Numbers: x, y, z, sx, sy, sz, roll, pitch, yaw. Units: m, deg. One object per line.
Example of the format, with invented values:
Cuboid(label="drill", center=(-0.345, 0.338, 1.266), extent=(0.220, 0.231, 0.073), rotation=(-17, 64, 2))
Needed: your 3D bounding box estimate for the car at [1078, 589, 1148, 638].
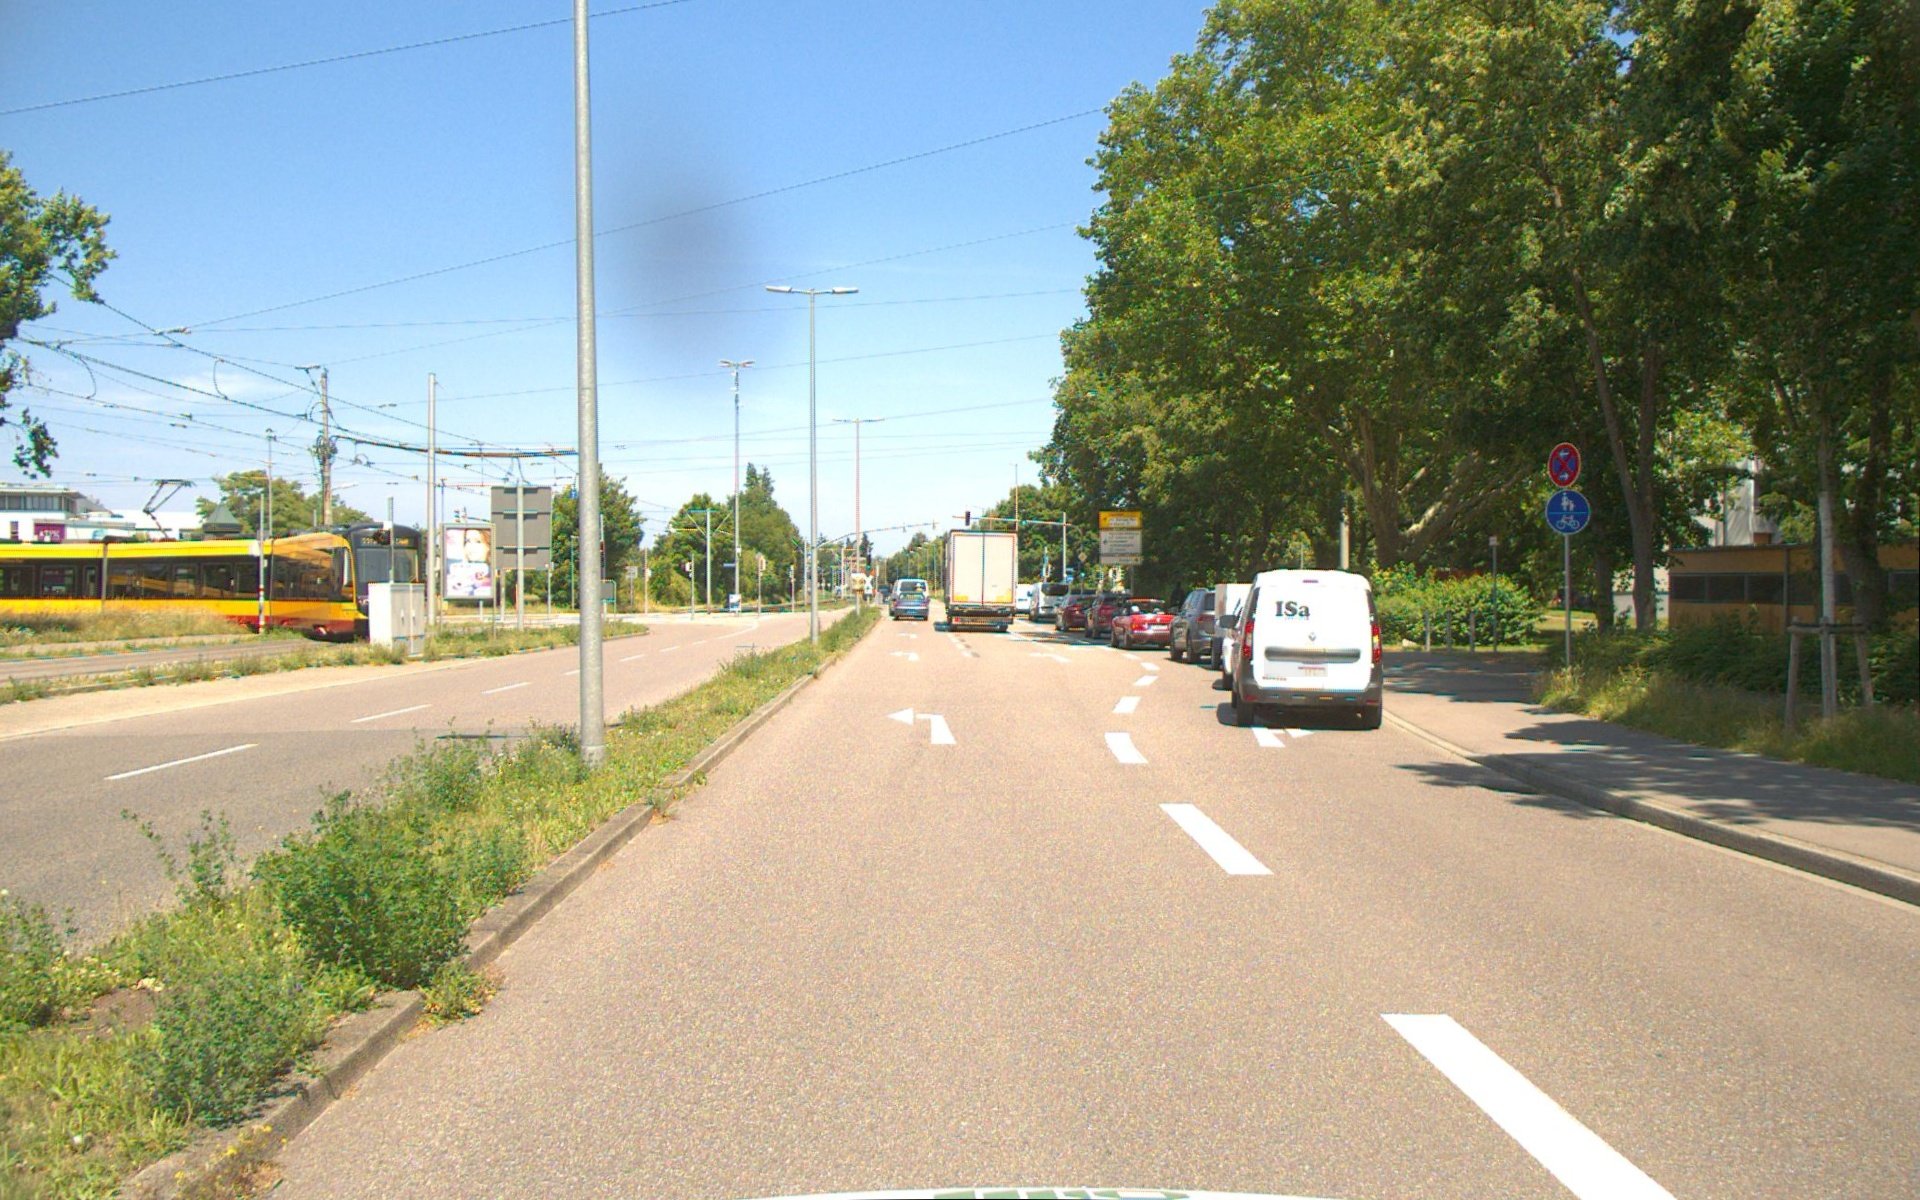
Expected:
Cuboid(label="car", center=(5.247, 0.439, 57.092), extent=(1.821, 1.576, 3.885), rotation=(1, 0, -3))

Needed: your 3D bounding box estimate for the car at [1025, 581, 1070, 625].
Cuboid(label="car", center=(4.451, 0.132, 84.385), extent=(1.853, 2.158, 3.885), rotation=(1, 0, -3))

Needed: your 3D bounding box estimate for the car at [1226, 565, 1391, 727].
Cuboid(label="car", center=(4.263, 0.500, 20.769), extent=(1.673, 1.778, 4.431), rotation=(1, 0, 8))

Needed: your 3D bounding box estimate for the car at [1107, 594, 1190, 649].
Cuboid(label="car", center=(5.227, 0.561, 46.338), extent=(1.622, 1.421, 4.265), rotation=(1, 0, -3))

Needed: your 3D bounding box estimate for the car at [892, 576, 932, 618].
Cuboid(label="car", center=(-2.625, -0.187, 89.765), extent=(1.954, 2.148, 4.744), rotation=(0, 1, -4))

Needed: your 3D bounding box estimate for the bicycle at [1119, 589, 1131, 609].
Cuboid(label="bicycle", center=(11.200, -0.043, 112.264), extent=(0.631, 1.327, 1.627), rotation=(-2, 0, 9))

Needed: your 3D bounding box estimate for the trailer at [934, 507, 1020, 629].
Cuboid(label="trailer", center=(0.573, -1.223, 65.848), extent=(2.771, 4.498, 8.744), rotation=(1, 0, -3))

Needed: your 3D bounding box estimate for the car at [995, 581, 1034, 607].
Cuboid(label="car", center=(3.234, -0.363, 98.764), extent=(1.953, 1.462, 4.249), rotation=(0, 1, -3))

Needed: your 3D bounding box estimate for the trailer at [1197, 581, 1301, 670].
Cuboid(label="trailer", center=(5.777, 0.476, 33.282), extent=(1.439, 1.698, 2.854), rotation=(1, 0, -3))

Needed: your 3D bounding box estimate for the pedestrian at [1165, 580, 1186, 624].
Cuboid(label="pedestrian", center=(9.152, 0.094, 70.316), extent=(0.738, 1.847, 0.693), rotation=(-1, 0, -3))

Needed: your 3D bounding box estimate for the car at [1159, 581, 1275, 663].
Cuboid(label="car", center=(5.667, 0.449, 36.912), extent=(1.665, 1.683, 4.396), rotation=(1, 0, -3))

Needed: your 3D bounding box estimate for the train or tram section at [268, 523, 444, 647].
Cuboid(label="train or tram section", center=(-19.783, -0.521, 53.478), extent=(3.005, 3.526, 13.156), rotation=(1, 1, -30))

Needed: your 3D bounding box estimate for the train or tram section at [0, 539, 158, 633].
Cuboid(label="train or tram section", center=(-38.552, -0.649, 65.461), extent=(12.440, 3.526, 3.048), rotation=(1, 0, 6))

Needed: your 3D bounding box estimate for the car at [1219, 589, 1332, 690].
Cuboid(label="car", center=(5.181, 0.592, 27.495), extent=(1.684, 1.514, 3.881), rotation=(1, 0, 9))

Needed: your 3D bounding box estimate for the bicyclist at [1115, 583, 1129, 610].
Cuboid(label="bicyclist", center=(11.011, -0.233, 112.392), extent=(0.785, 1.757, 0.679), rotation=(-2, 0, 9))

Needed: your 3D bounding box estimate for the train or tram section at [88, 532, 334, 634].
Cuboid(label="train or tram section", center=(-28.095, -0.695, 61.845), extent=(9.998, 3.526, 3.041), rotation=(1, 0, 29))

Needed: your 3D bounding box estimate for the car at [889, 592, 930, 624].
Cuboid(label="car", center=(-2.480, 0.357, 81.988), extent=(1.854, 1.395, 4.429), rotation=(4, 0, -1))

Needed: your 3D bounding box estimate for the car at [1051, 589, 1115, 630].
Cuboid(label="car", center=(4.957, 0.356, 67.196), extent=(1.954, 1.529, 4.498), rotation=(0, 1, -4))

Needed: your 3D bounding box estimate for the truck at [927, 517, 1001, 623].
Cuboid(label="truck", center=(0.108, -1.343, 74.410), extent=(2.771, 4.420, 8.280), rotation=(2, 1, -3))
